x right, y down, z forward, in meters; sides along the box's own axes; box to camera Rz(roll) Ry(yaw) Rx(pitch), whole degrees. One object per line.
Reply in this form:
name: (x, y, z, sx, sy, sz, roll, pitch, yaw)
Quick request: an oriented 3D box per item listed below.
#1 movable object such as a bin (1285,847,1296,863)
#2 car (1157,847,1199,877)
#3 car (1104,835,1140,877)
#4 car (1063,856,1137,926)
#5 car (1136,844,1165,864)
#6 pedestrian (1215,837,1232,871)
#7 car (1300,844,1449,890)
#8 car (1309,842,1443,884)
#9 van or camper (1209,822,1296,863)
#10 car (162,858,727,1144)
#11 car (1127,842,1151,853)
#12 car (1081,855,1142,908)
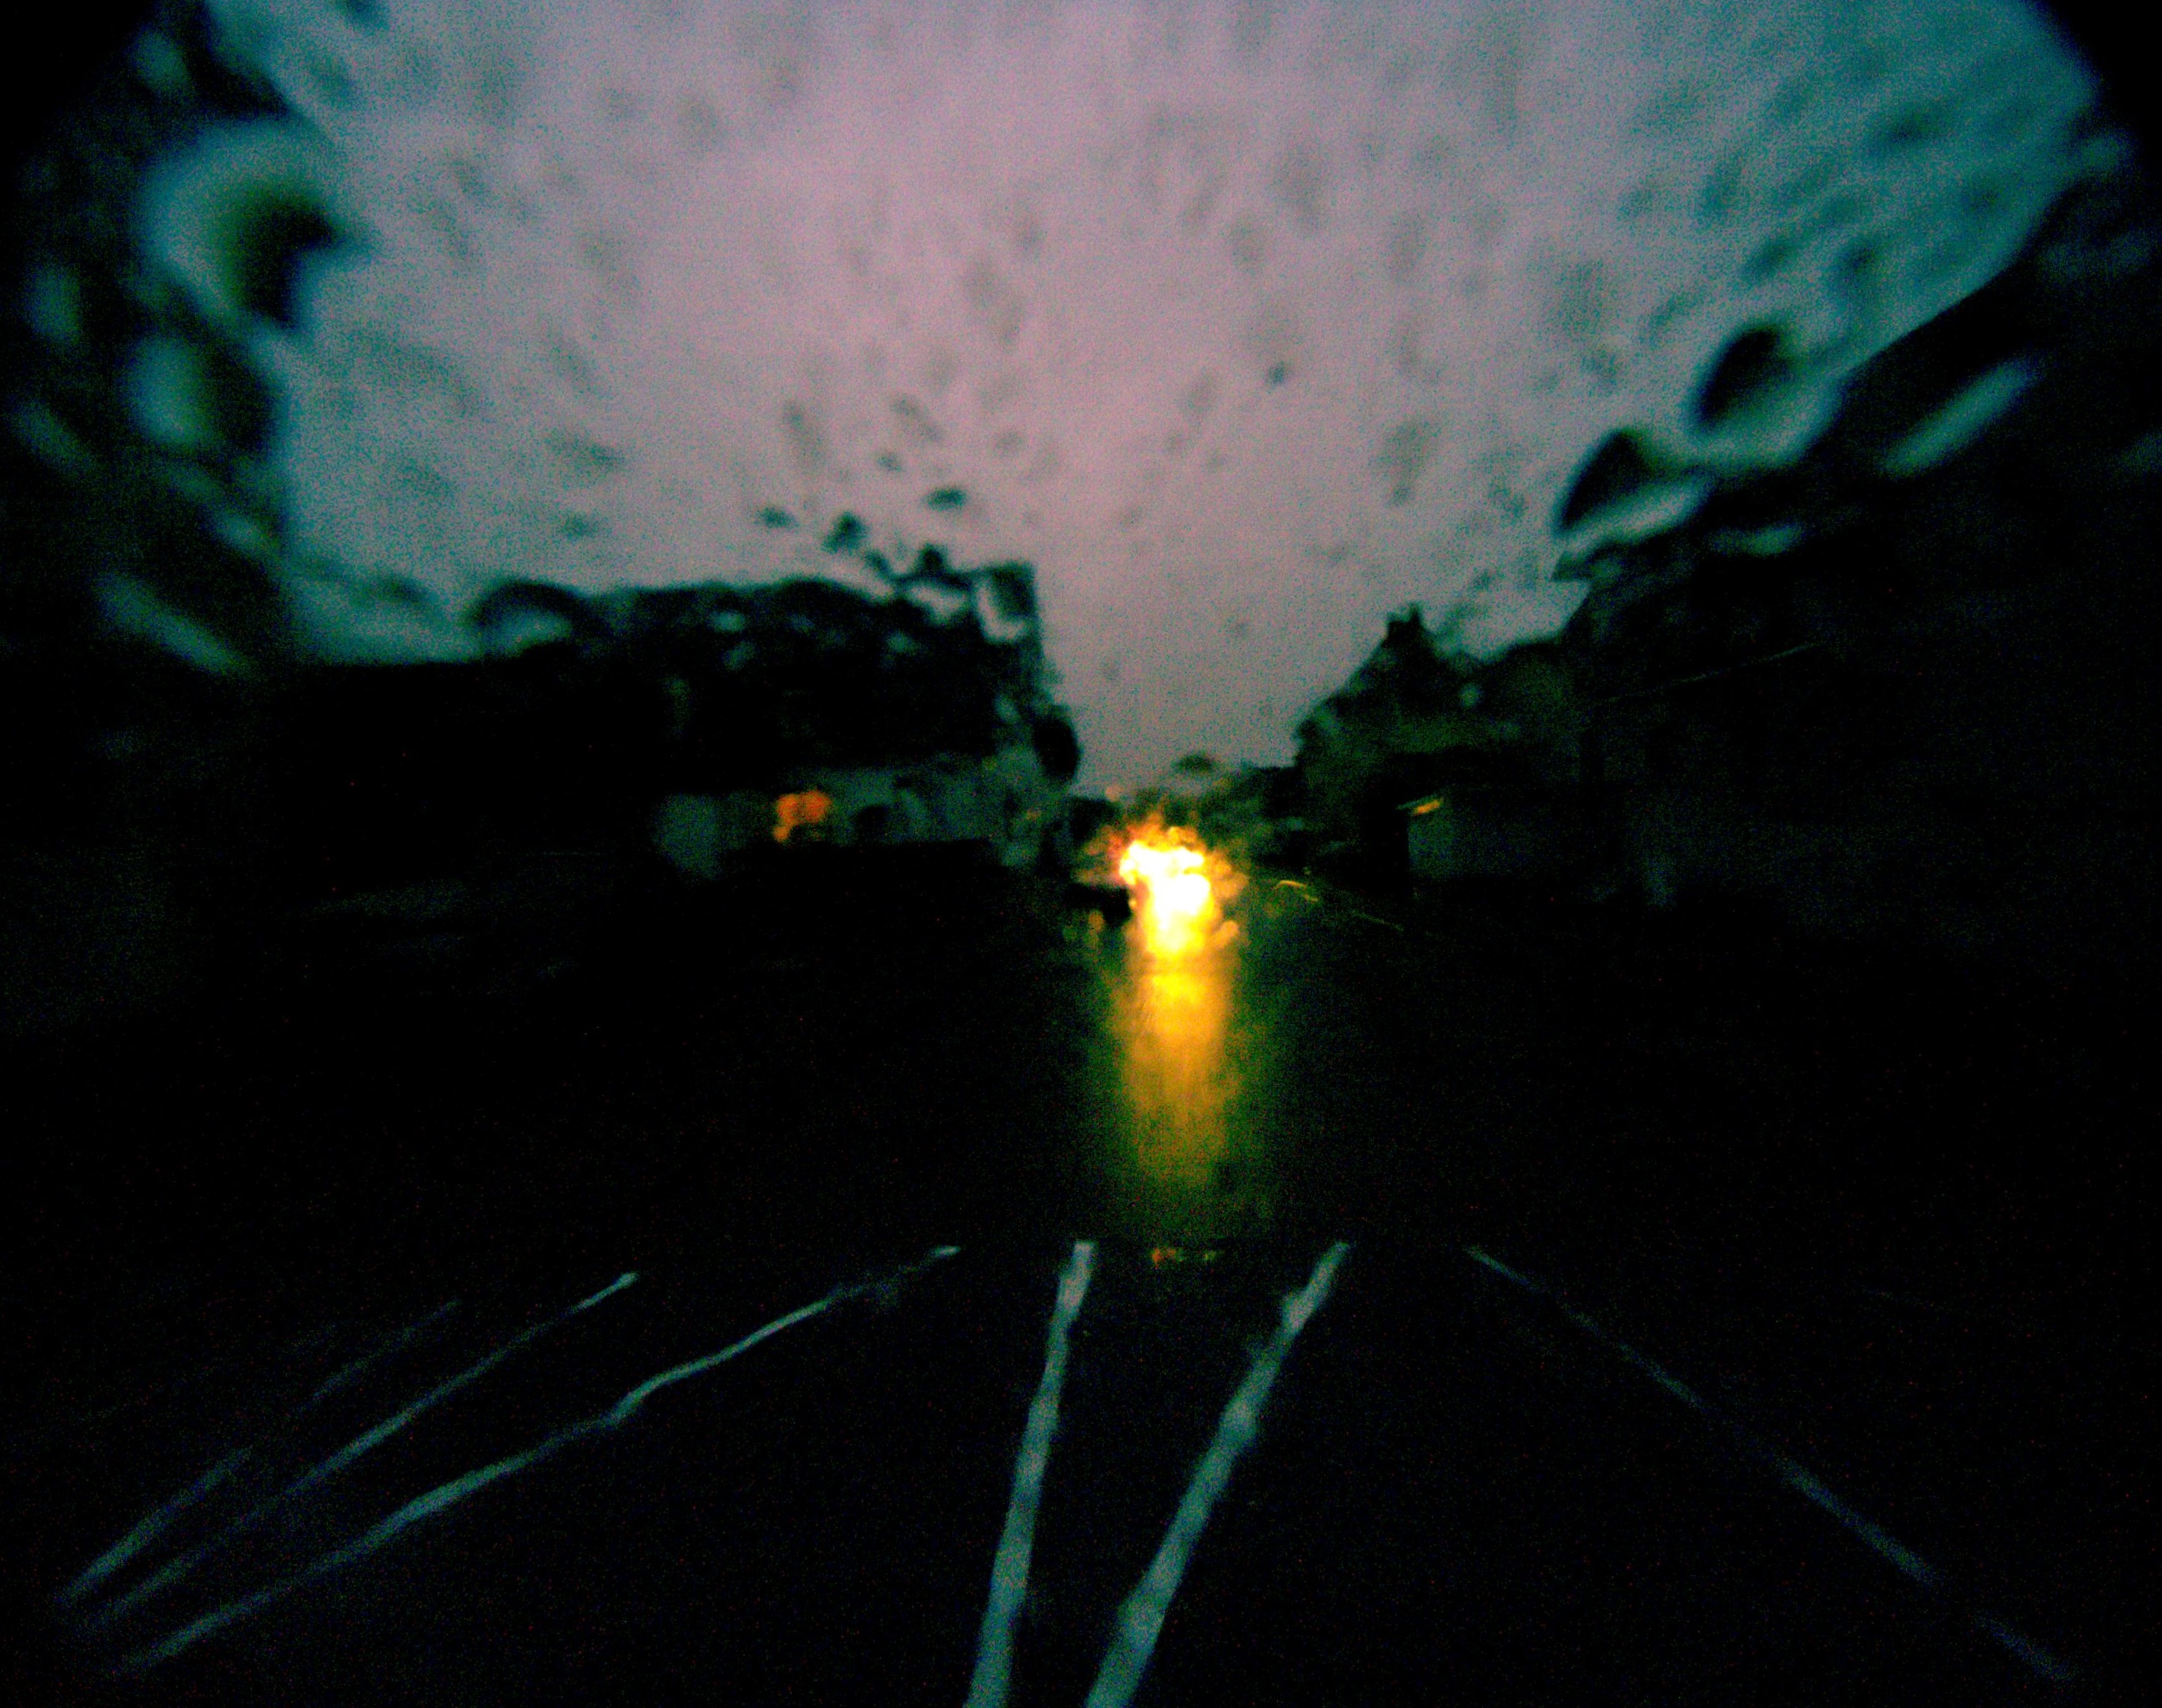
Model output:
movable object such as a bin: (14.129, 0.060, 51.240, 0.617, 1.015, 0.581, -3, 1, 9)
car: (5.632, 0.415, 44.517, 1.990, 1.549, 4.236, -3, 1, 2)
car: (2.619, 0.077, 48.973, 2.013, 2.440, 5.615, -3, 1, 3)
car: (0.538, 0.865, 19.653, 1.641, 1.485, 4.000, -4, 1, 3)
car: (5.858, -0.059, 64.285, 1.991, 1.549, 4.235, -3, 1, 0)
pedestrian: (8.667, 0.006, 46.186, 0.785, 2.002, 0.869, -4, 2, 5)
car: (10.368, 0.446, 27.142, 4.603, 1.462, 2.001, -2, 1, 6)
car: (11.482, 0.341, 29.833, 4.611, 1.462, 1.893, -2, 1, 10)
van or camper: (12.729, -0.862, 56.809, 6.072, 2.925, 2.324, 0, 1, 4)
car: (-4.619, 0.847, 6.532, 1.813, 1.479, 4.273, 0, 2, -10)
car: (10.091, -1.146, 131.906, 3.994, 1.652, 1.756, -3, 1, 11)
car: (1.096, 0.841, 25.229, 1.641, 1.463, 4.001, -3, 1, 7)
